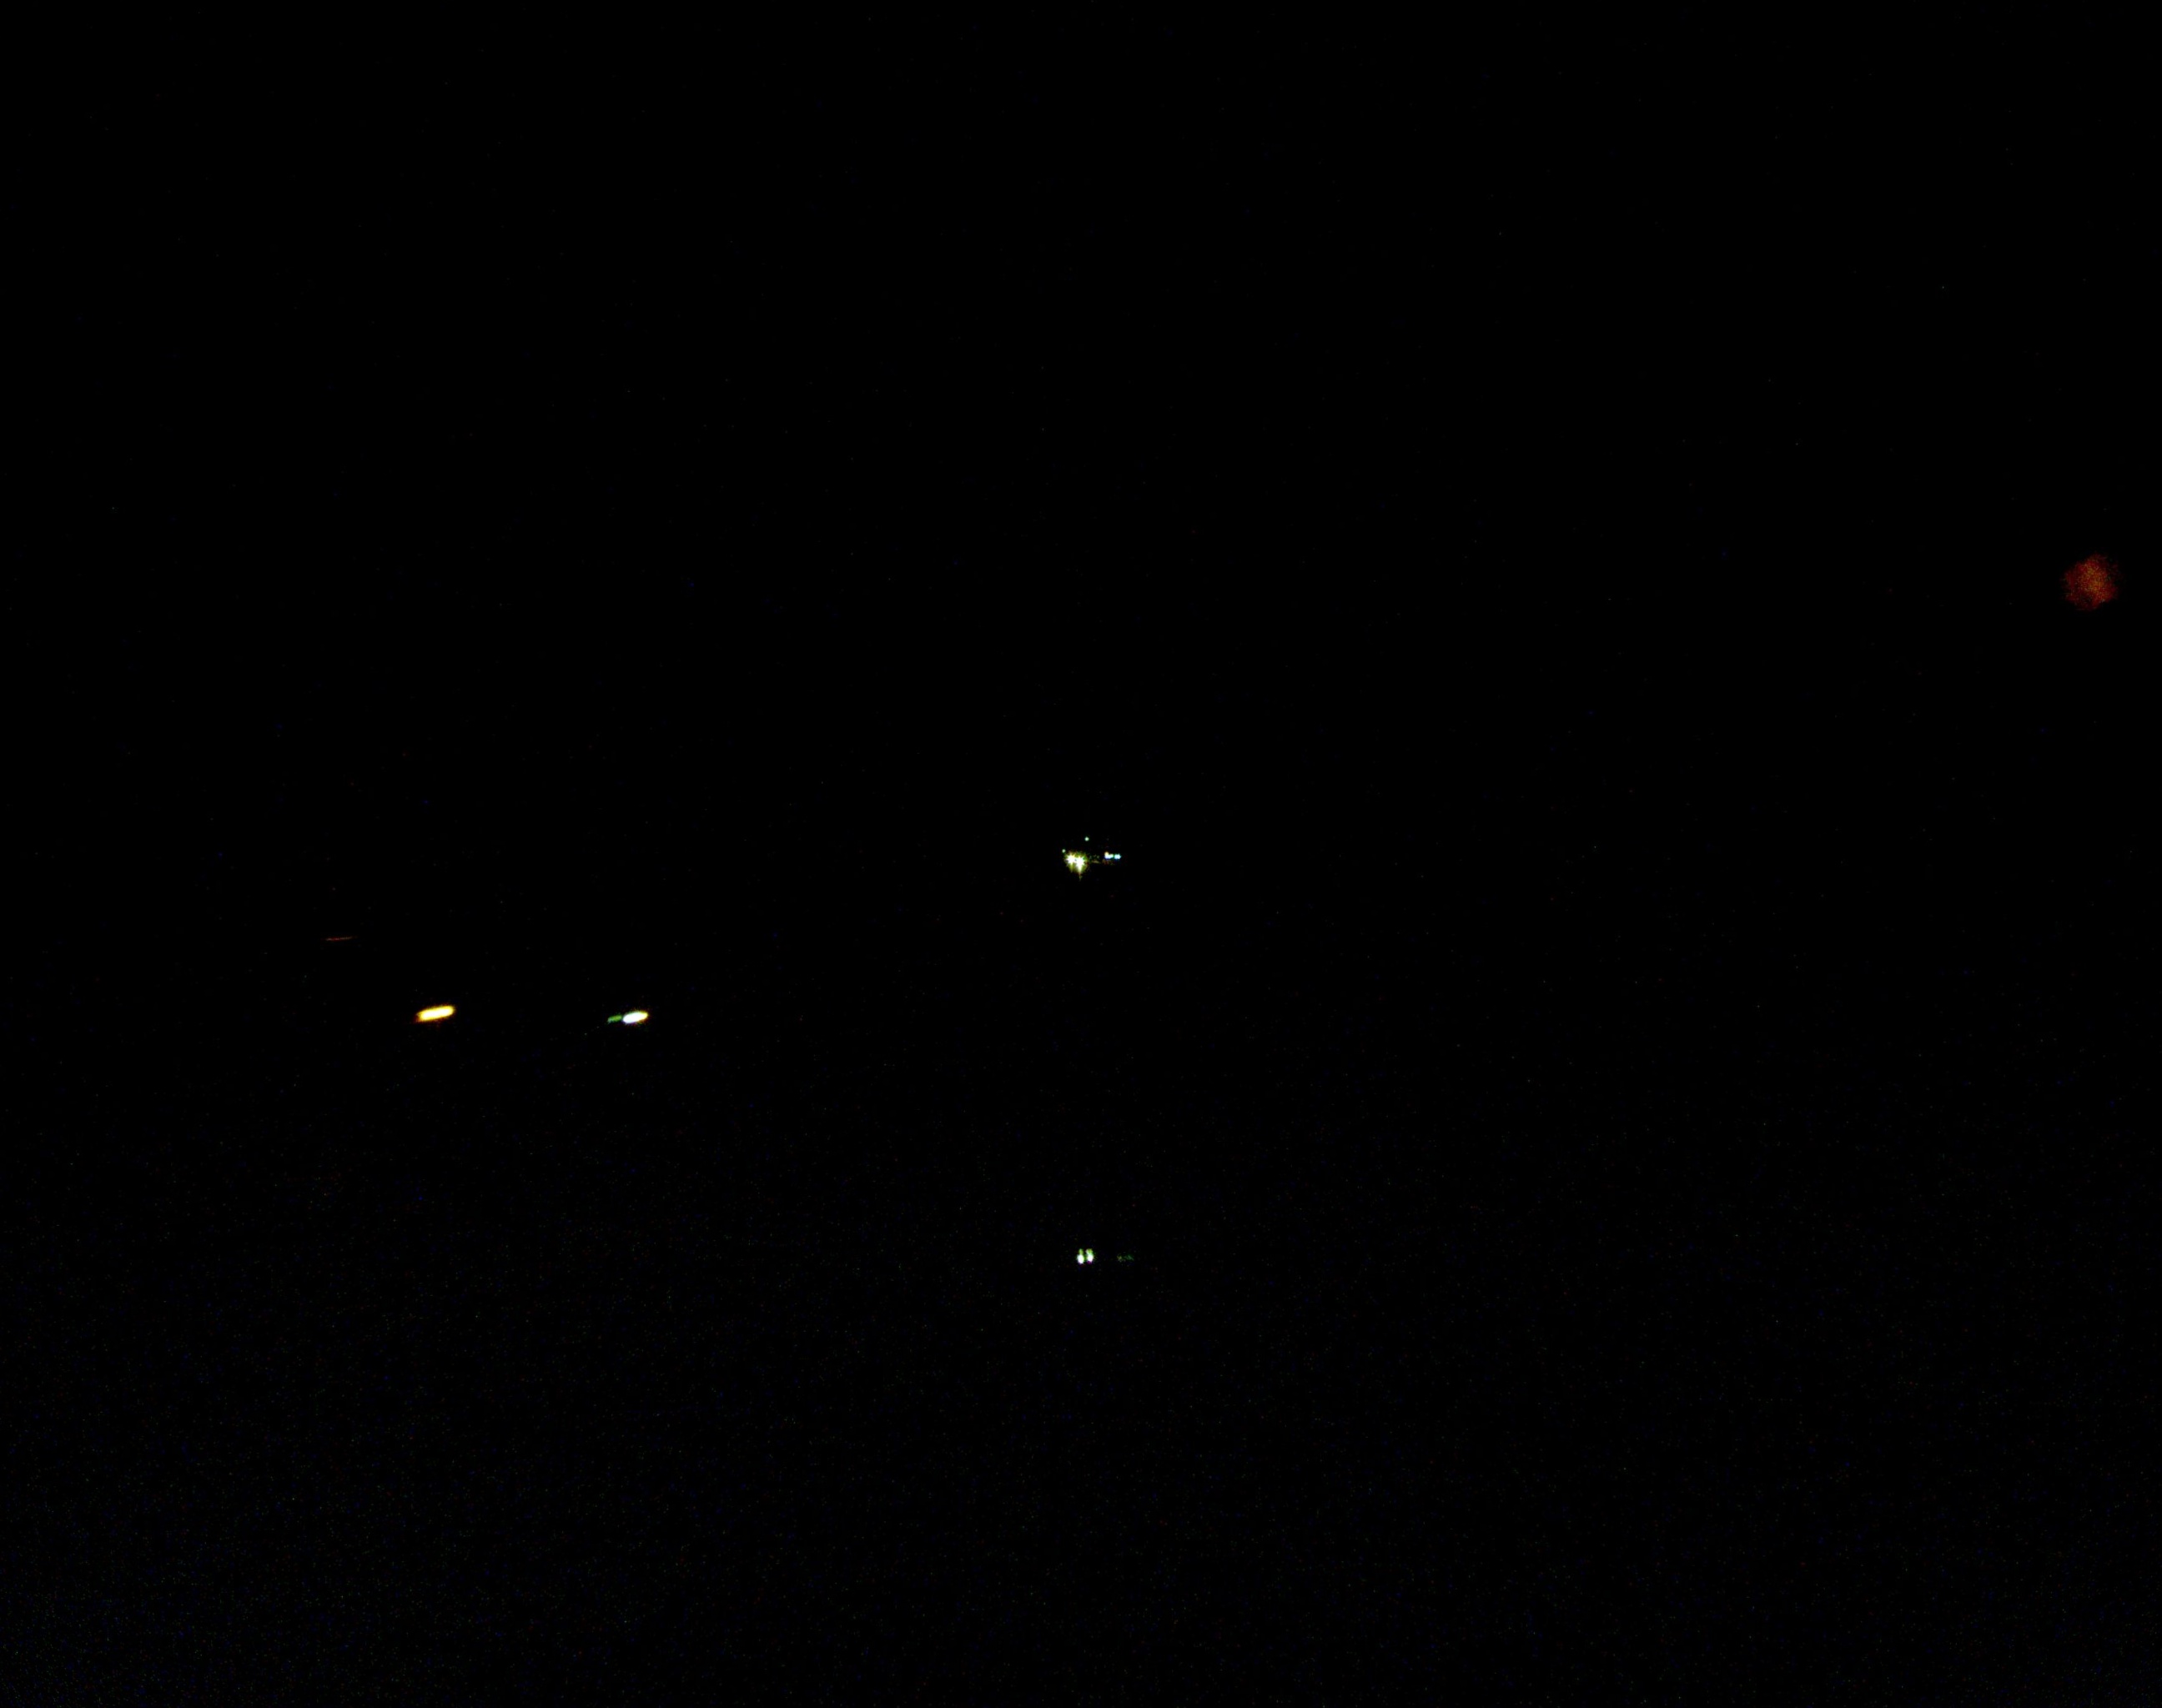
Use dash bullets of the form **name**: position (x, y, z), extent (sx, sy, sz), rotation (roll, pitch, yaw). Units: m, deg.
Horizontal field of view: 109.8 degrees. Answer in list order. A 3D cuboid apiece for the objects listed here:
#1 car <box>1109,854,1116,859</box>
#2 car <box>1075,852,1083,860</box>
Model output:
- **car**: position (9.127, 0.782, 219.879), extent (1.621, 1.498, 3.868), rotation (-2, 1, -1)
- **car**: position (-0.390, 0.396, 145.290), extent (1.570, 1.336, 4.166), rotation (-2, 0, -1)
